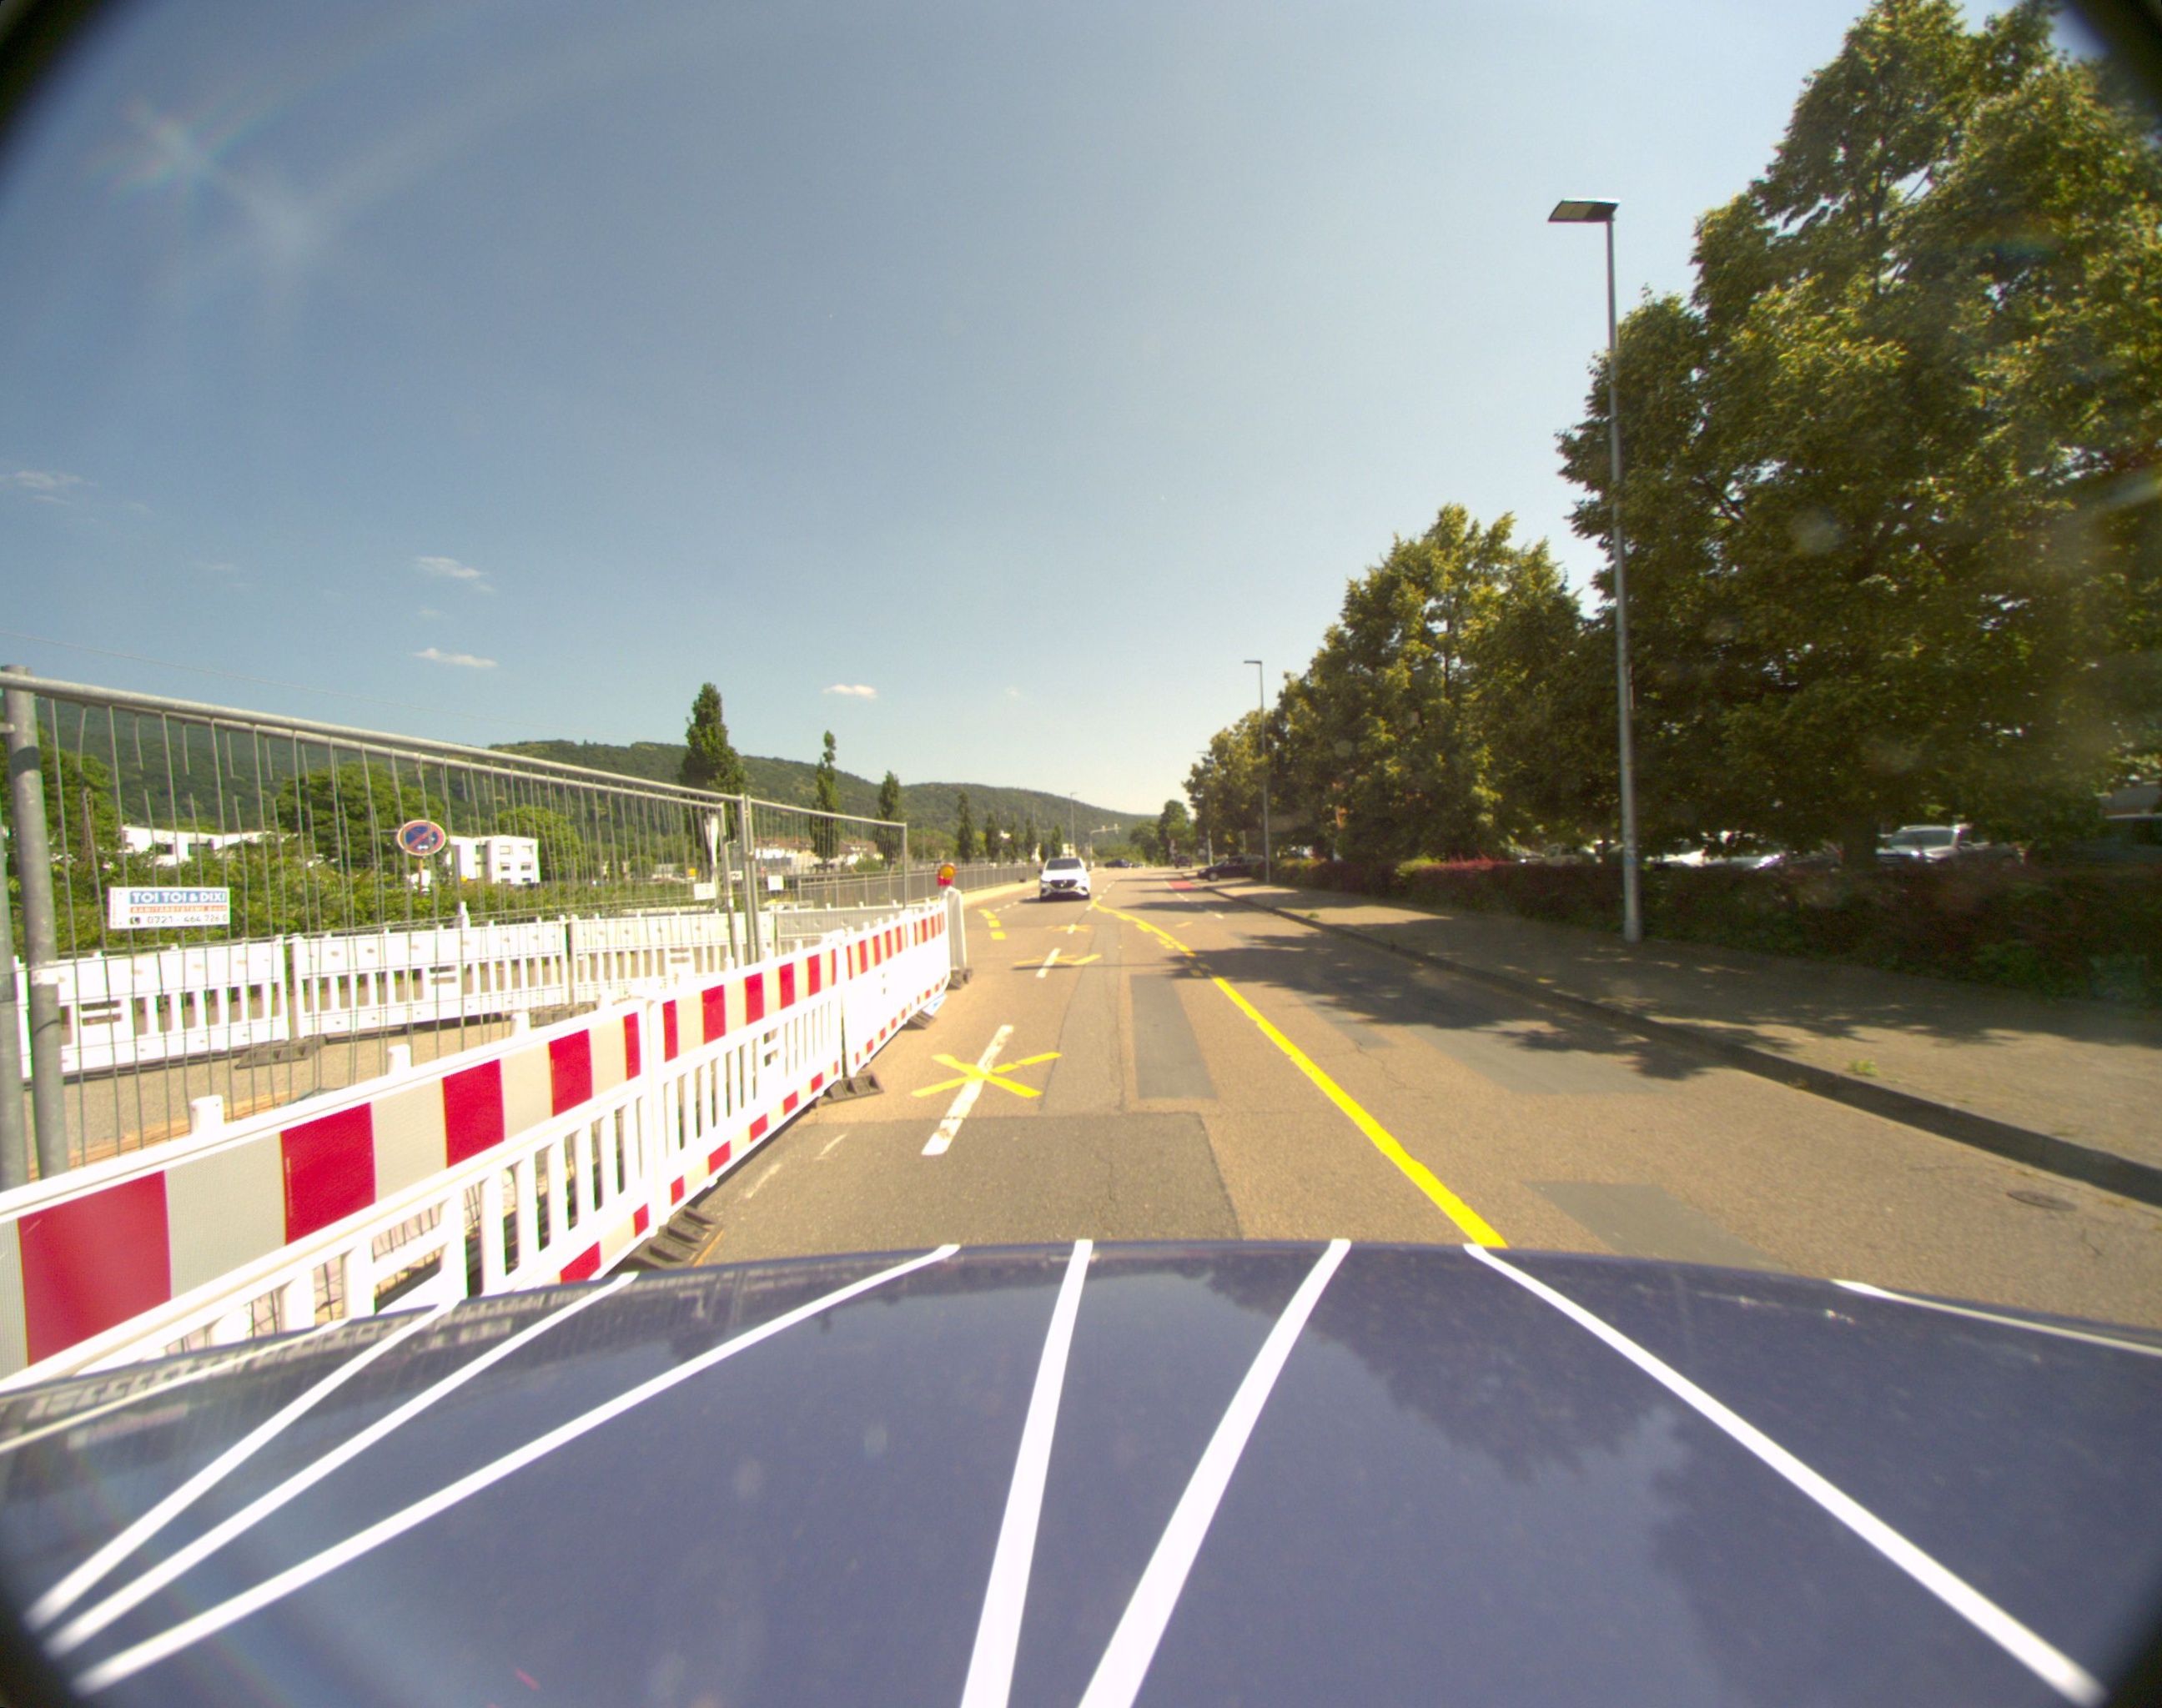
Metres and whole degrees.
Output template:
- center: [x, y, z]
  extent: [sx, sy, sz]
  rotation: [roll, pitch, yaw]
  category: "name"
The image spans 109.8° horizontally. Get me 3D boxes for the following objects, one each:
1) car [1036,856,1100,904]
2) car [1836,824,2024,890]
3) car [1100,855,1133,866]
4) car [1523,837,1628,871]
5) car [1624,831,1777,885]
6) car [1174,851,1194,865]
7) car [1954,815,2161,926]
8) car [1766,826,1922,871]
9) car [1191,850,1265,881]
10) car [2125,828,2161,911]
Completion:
- center: [-0.423, 0.967, 30.841]
  extent: [1.998, 1.635, 5.033]
  rotation: [-4, 0, 5]
  category: "car"
- center: [24.433, 0.054, 21.895]
  extent: [4.369, 1.676, 1.860]
  rotation: [-2, 0, -16]
  category: "car"
- center: [5.276, 0.989, 112.431]
  extent: [4.515, 1.635, 2.004]
  rotation: [-1, 0, 36]
  category: "car"
- center: [24.453, 0.023, 37.781]
  extent: [1.922, 1.543, 4.137]
  rotation: [-2, 0, -14]
  category: "car"
- center: [21.367, 0.124, 26.248]
  extent: [4.314, 1.676, 1.860]
  rotation: [-2, 0, -15]
  category: "car"
- center: [12.526, 0.468, 91.901]
  extent: [1.996, 1.635, 4.532]
  rotation: [-1, 0, 12]
  category: "car"
- center: [17.131, 0.242, 11.910]
  extent: [1.861, 1.676, 4.367]
  rotation: [0, 0, -1]
  category: "car"
- center: [32.792, -0.211, 32.844]
  extent: [1.863, 1.676, 4.362]
  rotation: [-4, 1, -12]
  category: "car"
- center: [8.465, 0.678, 44.068]
  extent: [3.995, 1.455, 1.881]
  rotation: [-4, 0, 6]
  category: "car"
- center: [19.647, 0.261, 11.440]
  extent: [1.861, 1.444, 4.367]
  rotation: [0, 0, -1]
  category: "car"
